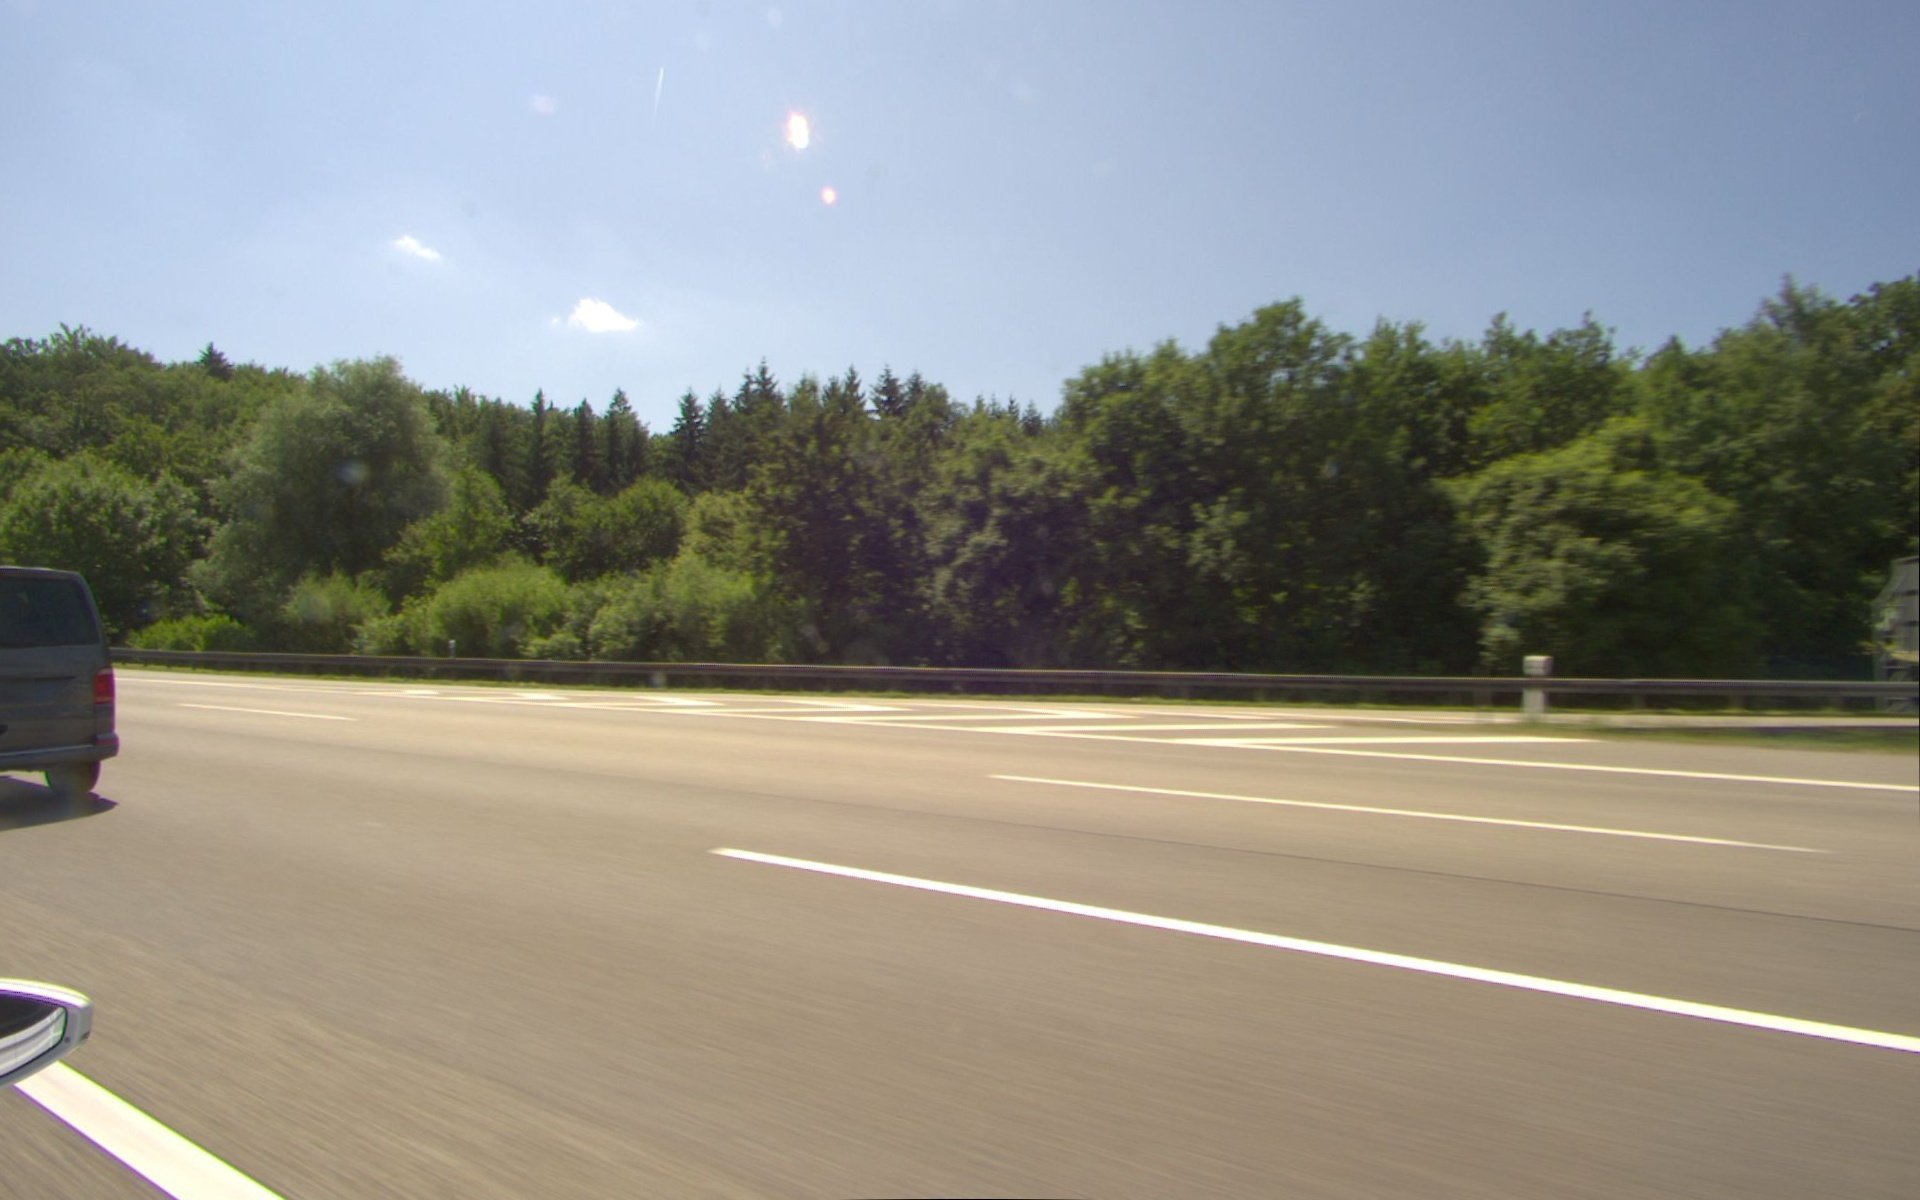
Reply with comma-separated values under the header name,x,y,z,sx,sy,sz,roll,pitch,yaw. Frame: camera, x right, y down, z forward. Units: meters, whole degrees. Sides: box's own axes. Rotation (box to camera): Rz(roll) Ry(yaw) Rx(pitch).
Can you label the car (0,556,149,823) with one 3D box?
name,x,y,z,sx,sy,sz,roll,pitch,yaw
car,-9.561,0.727,8.994,5.009,2.059,1.960,-1,-1,31
